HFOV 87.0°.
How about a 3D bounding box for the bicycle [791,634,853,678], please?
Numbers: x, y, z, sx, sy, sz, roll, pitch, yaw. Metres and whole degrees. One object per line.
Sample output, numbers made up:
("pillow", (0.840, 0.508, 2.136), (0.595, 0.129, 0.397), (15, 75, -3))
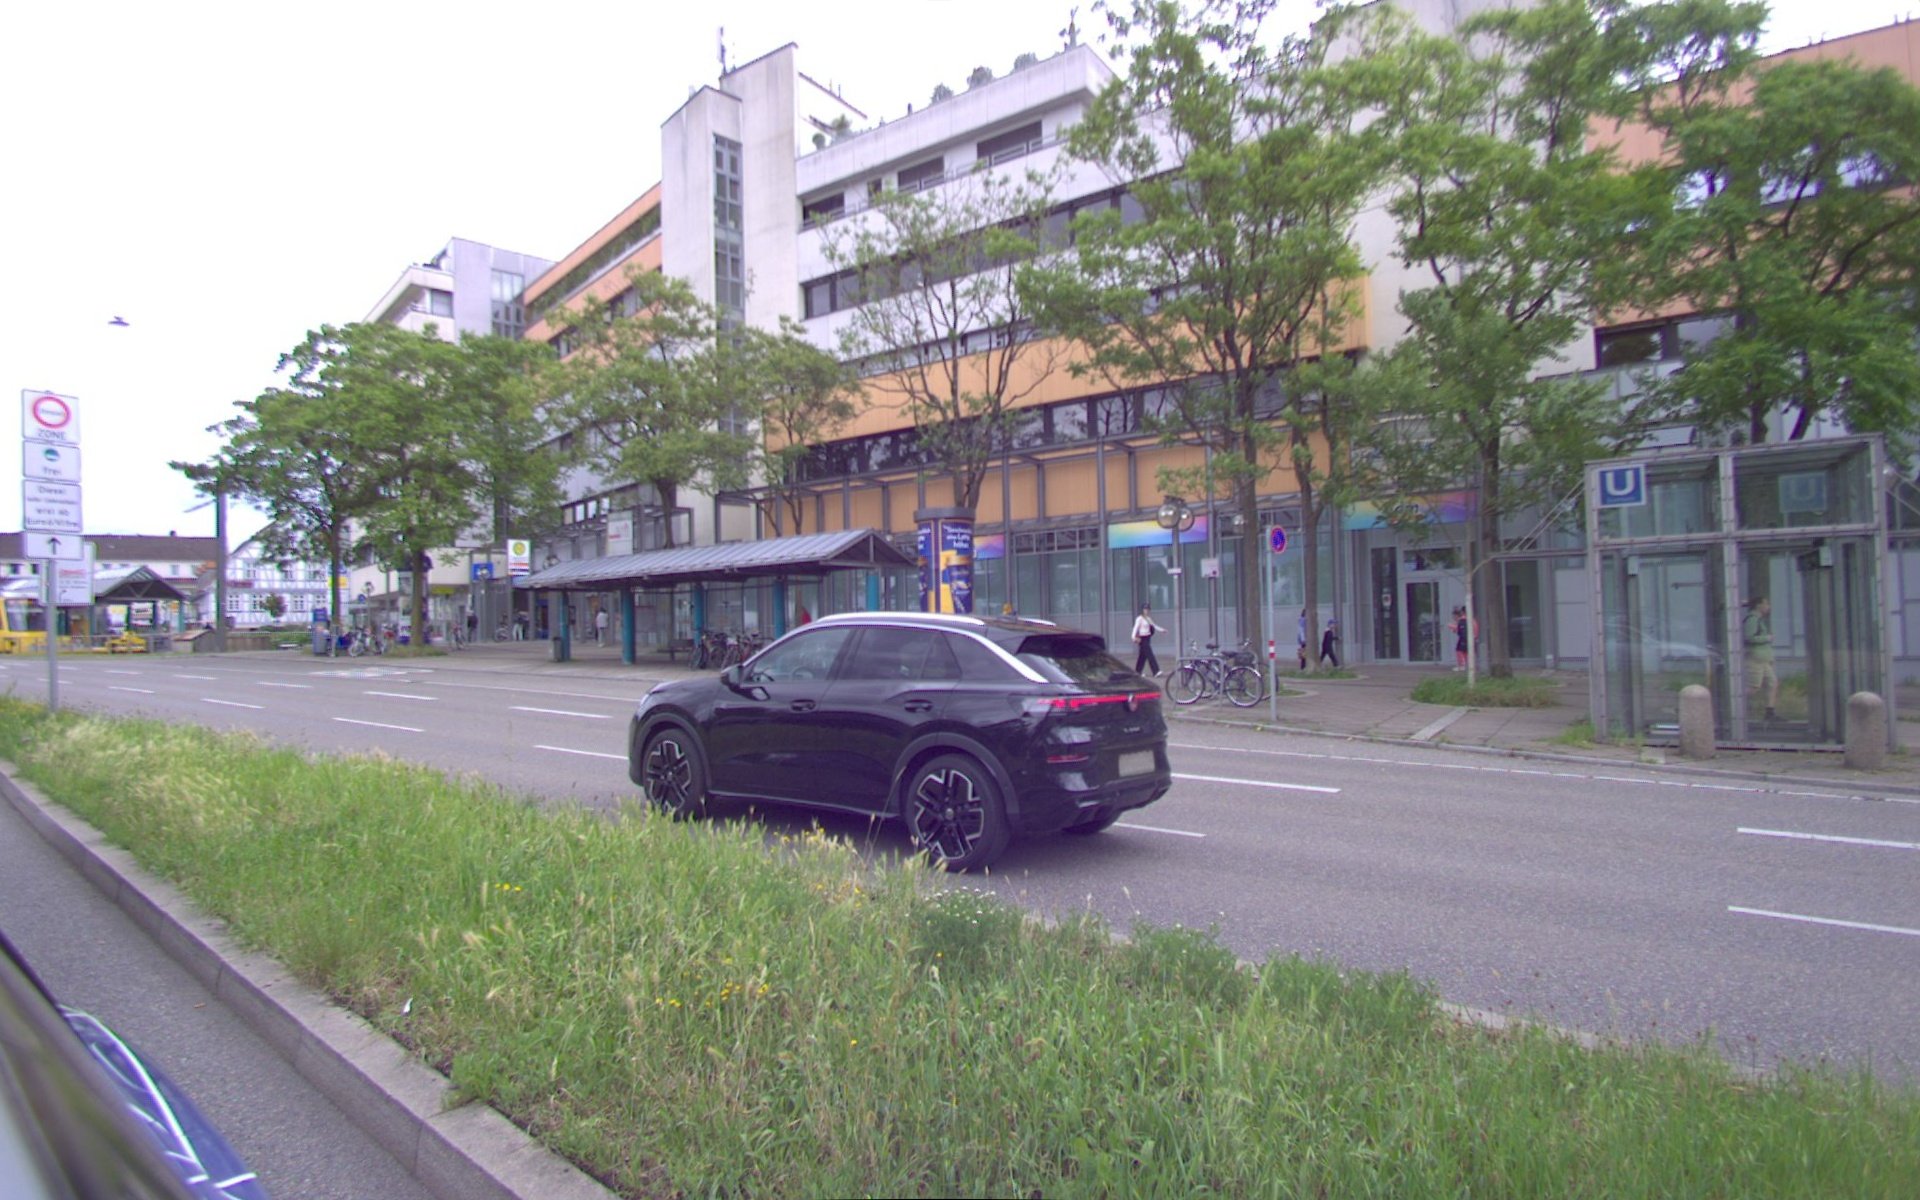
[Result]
("bicycle", (-3.610, 1.449, 26.591), (0.549, 1.048, 1.714), (-2, 0, 38))

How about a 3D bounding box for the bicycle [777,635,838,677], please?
("bicycle", (-4.134, 1.506, 27.559), (0.549, 1.048, 1.714), (-2, -1, 38))

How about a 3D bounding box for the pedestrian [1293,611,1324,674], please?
("pedestrian", (8.621, 1.043, 25.047), (0.620, 1.515, 0.563), (-1, -2, 31))

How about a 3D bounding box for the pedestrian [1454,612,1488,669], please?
("pedestrian", (12.824, 1.010, 25.404), (0.694, 1.385, 0.578), (-1, -2, 34))

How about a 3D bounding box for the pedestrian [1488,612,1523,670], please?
("pedestrian", (13.396, 1.003, 24.848), (0.694, 1.385, 0.578), (-1, -2, 34))

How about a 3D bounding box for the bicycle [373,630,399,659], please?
("bicycle", (-22.742, 1.743, 40.108), (0.584, 1.085, 2.044), (0, -1, -21))

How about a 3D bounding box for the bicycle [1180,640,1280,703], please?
("bicycle", (4.987, 1.305, 18.788), (1.737, 1.074, 0.542), (-2, -1, 45))

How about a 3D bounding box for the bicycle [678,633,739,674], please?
("bicycle", (-7.229, 1.526, 29.147), (0.549, 1.048, 1.714), (-2, 0, 38))

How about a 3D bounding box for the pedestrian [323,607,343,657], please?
("pedestrian", (-29.174, 1.474, 47.083), (0.608, 2.325, 0.583), (-1, -2, 39))

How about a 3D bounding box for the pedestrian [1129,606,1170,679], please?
("pedestrian", (4.450, 0.986, 23.768), (0.721, 1.662, 0.669), (-1, -1, 37))

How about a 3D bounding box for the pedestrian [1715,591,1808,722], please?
("pedestrian", (11.601, 0.804, 14.670), (0.916, 1.846, 0.533), (-1, -2, 25))

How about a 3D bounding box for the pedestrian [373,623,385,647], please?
("pedestrian", (-36.095, 2.160, 62.836), (0.548, 1.506, 0.454), (1, -2, -41))

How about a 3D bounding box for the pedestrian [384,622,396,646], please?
("pedestrian", (-35.671, 2.114, 63.317), (0.548, 1.506, 0.454), (1, -2, -41))

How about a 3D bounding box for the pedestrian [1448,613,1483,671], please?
("pedestrian", (12.395, 1.016, 24.799), (0.694, 1.385, 0.578), (-1, -2, 34))

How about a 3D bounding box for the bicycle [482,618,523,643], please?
("bicycle", (-26.091, 1.724, 57.765), (2.106, 1.377, 0.621), (-1, 0, -24))

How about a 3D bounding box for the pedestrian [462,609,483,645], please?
("pedestrian", (-25.615, 1.423, 53.145), (0.752, 1.859, 0.755), (-1, -2, 41))

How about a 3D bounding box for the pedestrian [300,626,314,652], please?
("pedestrian", (-40.822, 2.433, 63.268), (0.581, 1.554, 0.570), (-1, -2, 32))

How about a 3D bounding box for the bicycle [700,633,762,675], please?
("bicycle", (-6.451, 1.503, 28.582), (0.549, 1.048, 1.714), (-2, 1, 38))

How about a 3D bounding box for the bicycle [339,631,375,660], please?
("bicycle", (-23.609, 1.756, 39.651), (0.585, 1.085, 2.042), (0, -1, -12))

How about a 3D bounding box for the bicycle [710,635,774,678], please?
("bicycle", (-5.956, 1.520, 27.720), (0.549, 1.048, 1.714), (-2, 1, 38))

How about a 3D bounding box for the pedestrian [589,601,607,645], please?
("pedestrian", (-16.819, 1.084, 47.021), (0.558, 2.029, 0.611), (1, -2, -44))

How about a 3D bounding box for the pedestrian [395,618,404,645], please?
("pedestrian", (-34.997, 1.953, 63.161), (0.479, 1.650, 0.439), (-1, 0, -32))

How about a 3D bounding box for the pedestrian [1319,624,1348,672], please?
("pedestrian", (9.379, 1.195, 25.404), (0.620, 1.190, 0.418), (-1, -2, 31))

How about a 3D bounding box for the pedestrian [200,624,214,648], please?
("pedestrian", (-50.051, 2.380, 67.263), (0.581, 1.554, 0.570), (-1, -2, 32))

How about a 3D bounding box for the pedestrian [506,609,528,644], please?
("pedestrian", (-22.240, 1.331, 50.780), (0.752, 1.695, 0.755), (-1, -2, 41))

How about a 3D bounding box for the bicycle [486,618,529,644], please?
("bicycle", (-24.943, 1.714, 55.787), (2.107, 1.385, 0.621), (-1, 0, -31))

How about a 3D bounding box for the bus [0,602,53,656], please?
("bus", (-55.977, 1.671, 58.616), (8.470, 3.006, 2.530), (-1, -2, 29))

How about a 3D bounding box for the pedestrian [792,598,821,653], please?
("pedestrian", (-5.706, 0.944, 37.594), (0.791, 2.029, 0.703), (-1, 0, 29))

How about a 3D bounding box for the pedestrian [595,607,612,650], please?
("pedestrian", (-15.469, 1.232, 43.905), (0.639, 1.823, 0.761), (0, -2, -16))

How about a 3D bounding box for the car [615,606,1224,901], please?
("car", (-0.405, 0.851, 7.202), (4.062, 1.533, 1.819), (-1, -3, 35))

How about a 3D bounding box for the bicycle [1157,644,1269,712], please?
("bicycle", (4.371, 1.316, 17.596), (0.802, 1.068, 1.739), (0, -1, -40))

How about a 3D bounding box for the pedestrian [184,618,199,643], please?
("pedestrian", (-62.320, 2.471, 82.051), (0.867, 2.029, 1.010), (1, -2, -44))

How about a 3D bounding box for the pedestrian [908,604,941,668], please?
("pedestrian", (-0.999, 1.011, 28.538), (0.769, 1.800, 0.525), (-1, -2, 33))

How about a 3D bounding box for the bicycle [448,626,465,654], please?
("bicycle", (-21.347, 1.697, 42.928), (0.584, 1.134, 2.044), (1, -1, -26))

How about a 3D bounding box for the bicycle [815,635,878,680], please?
("bicycle", (-2.900, 1.465, 26.059), (0.549, 1.048, 1.714), (-2, 0, 38))
